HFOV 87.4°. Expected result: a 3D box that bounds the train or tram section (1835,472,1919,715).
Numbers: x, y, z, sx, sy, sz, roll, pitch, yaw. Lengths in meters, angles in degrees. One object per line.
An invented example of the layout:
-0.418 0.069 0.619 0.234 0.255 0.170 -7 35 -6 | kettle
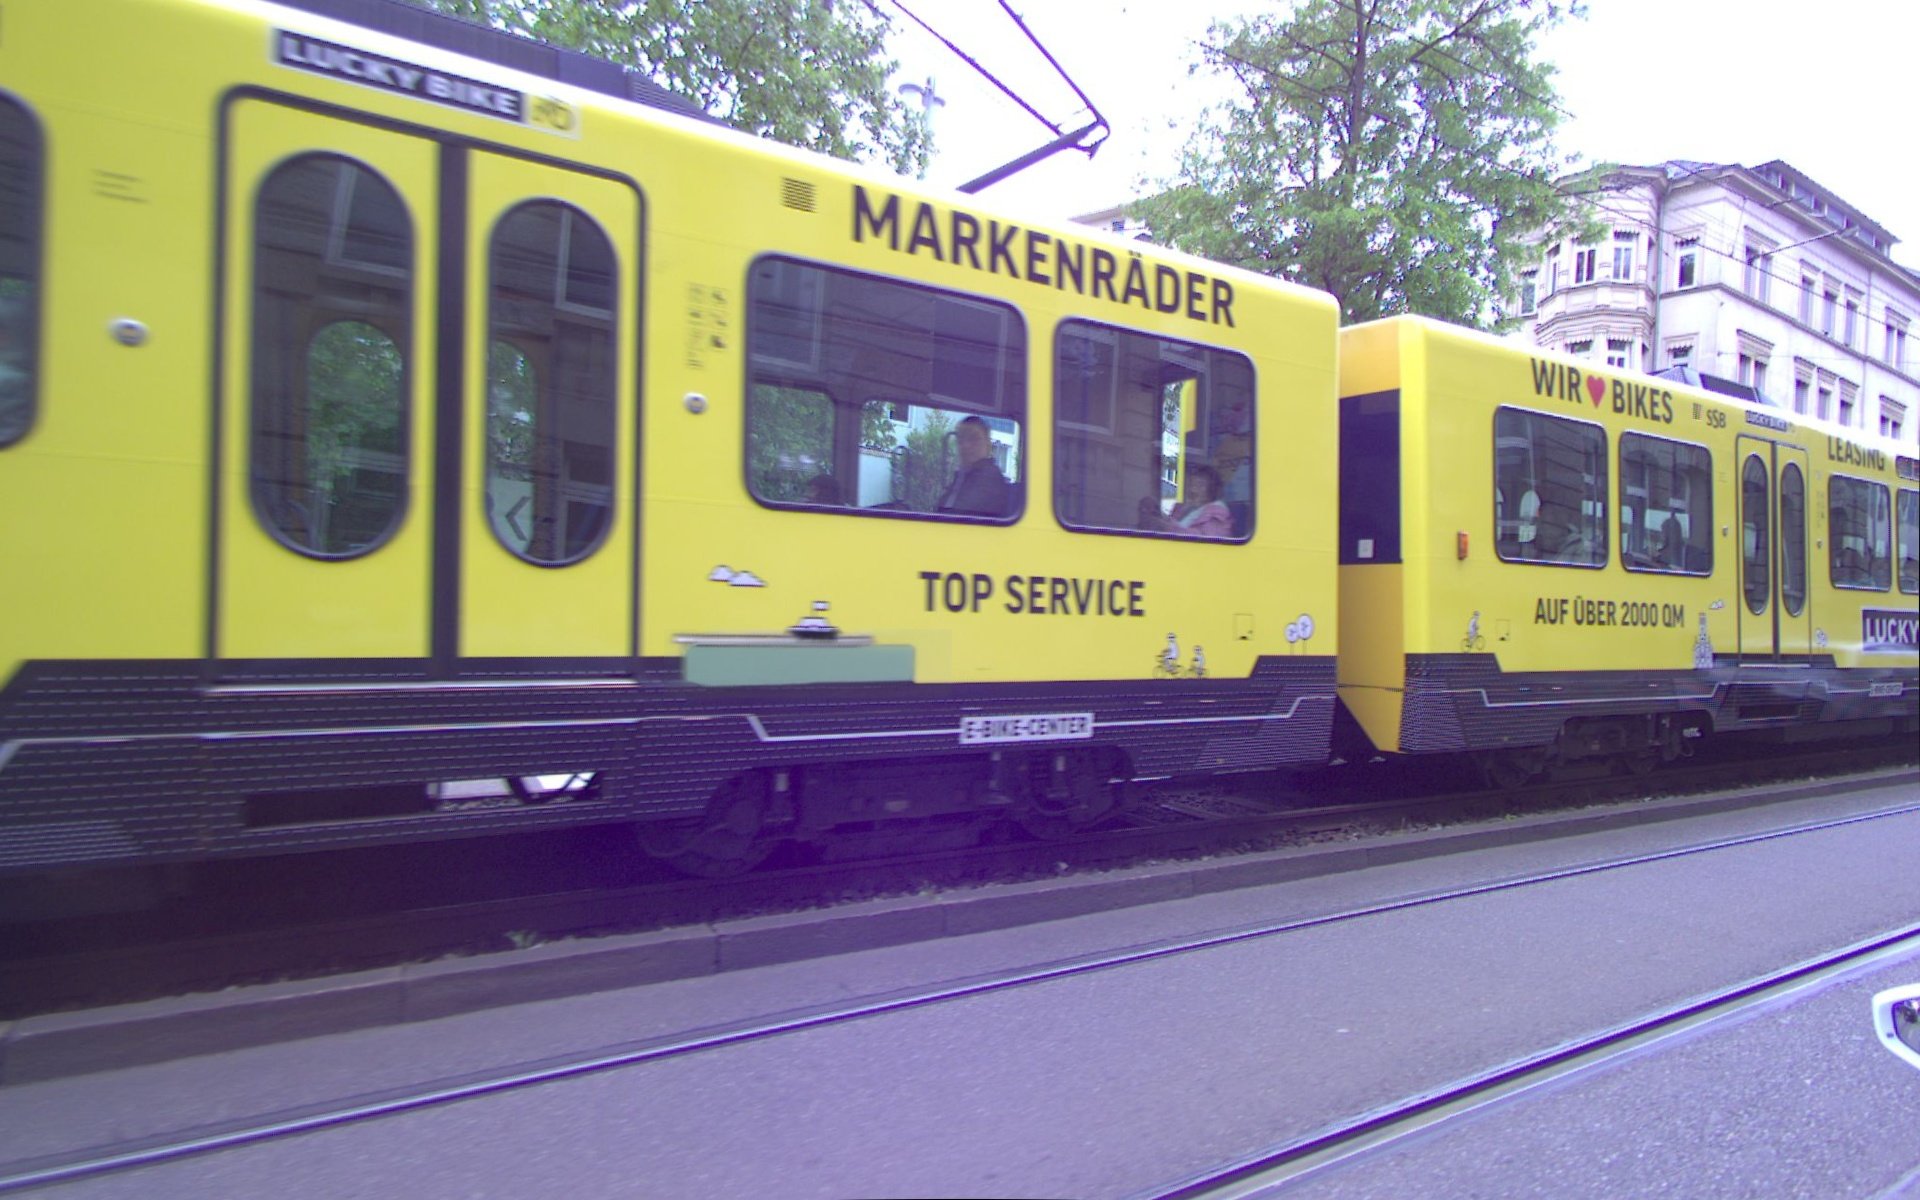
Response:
23.164 0.144 19.753 18.530 3.776 2.863 2 1 -30 | train or tram section

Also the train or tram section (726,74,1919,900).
7.077 -0.317 10.498 18.481 3.776 2.862 2 1 -30 | train or tram section

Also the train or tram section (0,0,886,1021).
-7.398 -0.762 1.964 14.684 3.776 2.868 2 1 -31 | train or tram section
